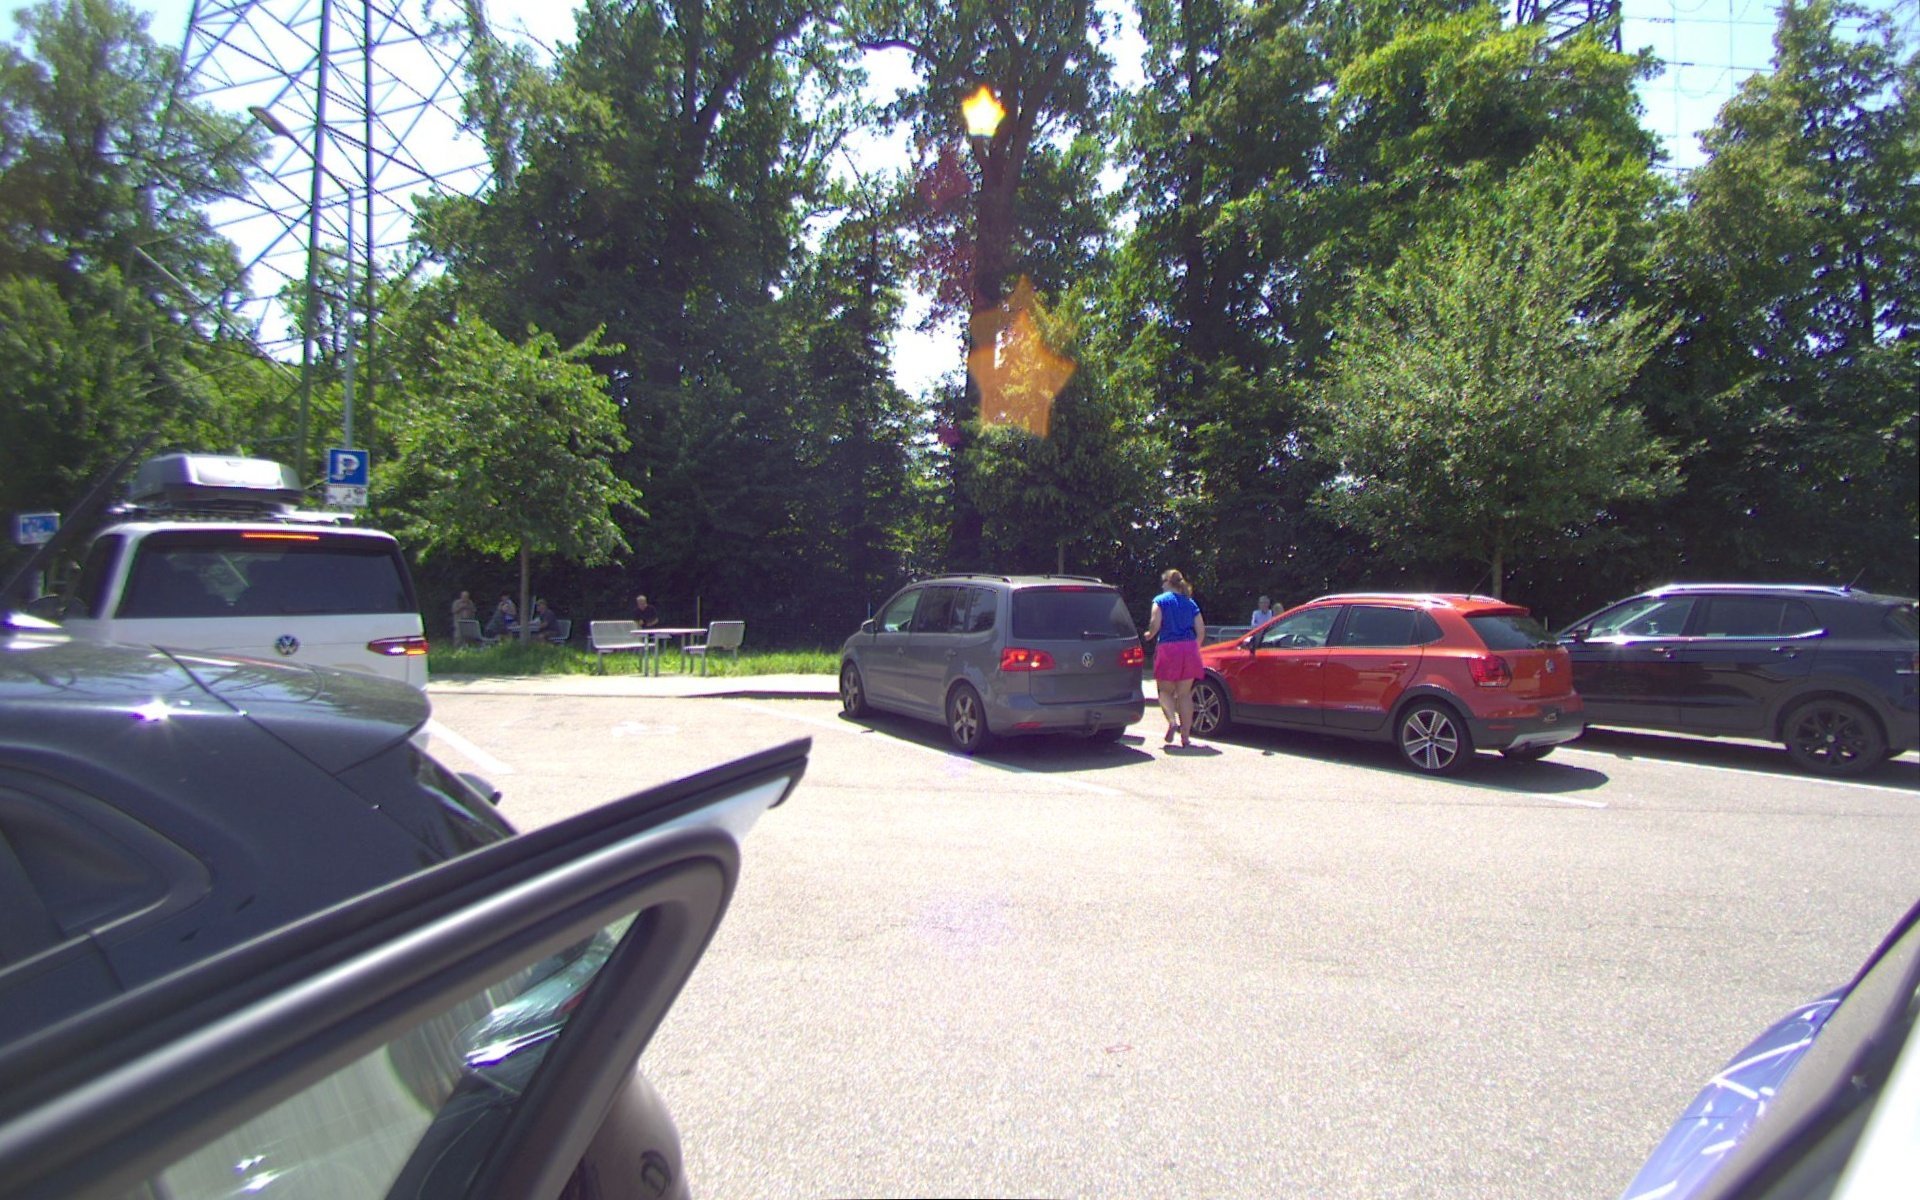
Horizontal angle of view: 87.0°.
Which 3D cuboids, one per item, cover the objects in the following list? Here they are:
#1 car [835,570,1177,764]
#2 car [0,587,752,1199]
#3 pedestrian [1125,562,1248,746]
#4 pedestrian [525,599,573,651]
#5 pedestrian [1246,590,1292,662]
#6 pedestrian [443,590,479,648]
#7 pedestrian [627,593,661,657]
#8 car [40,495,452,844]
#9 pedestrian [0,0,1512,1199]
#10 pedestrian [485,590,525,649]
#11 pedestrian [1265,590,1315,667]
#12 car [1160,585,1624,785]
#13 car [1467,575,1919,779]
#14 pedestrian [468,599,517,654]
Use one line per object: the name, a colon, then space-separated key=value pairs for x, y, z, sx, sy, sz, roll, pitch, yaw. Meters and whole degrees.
car: x=0.252 y=0.514 z=10.518 sx=1.713 sy=1.601 sz=3.996 roll=0 pitch=1 yaw=-29
car: x=-2.204 y=0.717 z=0.599 sx=1.737 sy=1.501 sz=3.757 roll=0 pitch=0 yaw=44
pedestrian: x=2.200 y=0.494 z=9.874 sx=0.901 sy=1.703 sz=0.735 roll=0 pitch=0 yaw=-24
pedestrian: x=-9.602 y=0.571 z=23.625 sx=0.873 sy=1.192 sz=0.668 roll=0 pitch=0 yaw=-41
pedestrian: x=5.785 y=0.474 z=18.975 sx=0.657 sy=1.311 sz=0.783 roll=0 pitch=0 yaw=3
pedestrian: x=-12.316 y=0.457 z=24.974 sx=0.657 sy=1.422 sz=0.649 roll=0 pitch=0 yaw=-39
pedestrian: x=-6.627 y=0.517 z=21.263 sx=0.655 sy=1.311 sz=0.786 roll=0 pitch=0 yaw=-16
car: x=-5.765 y=0.343 z=7.903 sx=4.551 sy=1.936 sz=1.881 roll=1 pitch=1 yaw=45
pedestrian: x=-0.175 y=0.536 z=0.626 sx=0.874 sy=1.865 sz=0.621 roll=0 pitch=0 yaw=-38
pedestrian: x=-11.024 y=0.460 z=24.529 sx=0.664 sy=1.422 sz=0.643 roll=0 pitch=0 yaw=32
pedestrian: x=5.779 y=0.485 z=17.754 sx=0.657 sy=1.311 sz=0.783 roll=0 pitch=0 yaw=3
car: x=3.853 y=0.607 z=9.648 sx=1.687 sy=1.484 sz=3.793 roll=0 pitch=1 yaw=-32
car: x=7.179 y=0.573 z=9.707 sx=1.690 sy=1.593 sz=3.787 roll=0 pitch=1 yaw=-39
pedestrian: x=-10.518 y=0.583 z=22.771 sx=0.873 sy=1.192 sz=0.668 roll=0 pitch=0 yaw=-41
